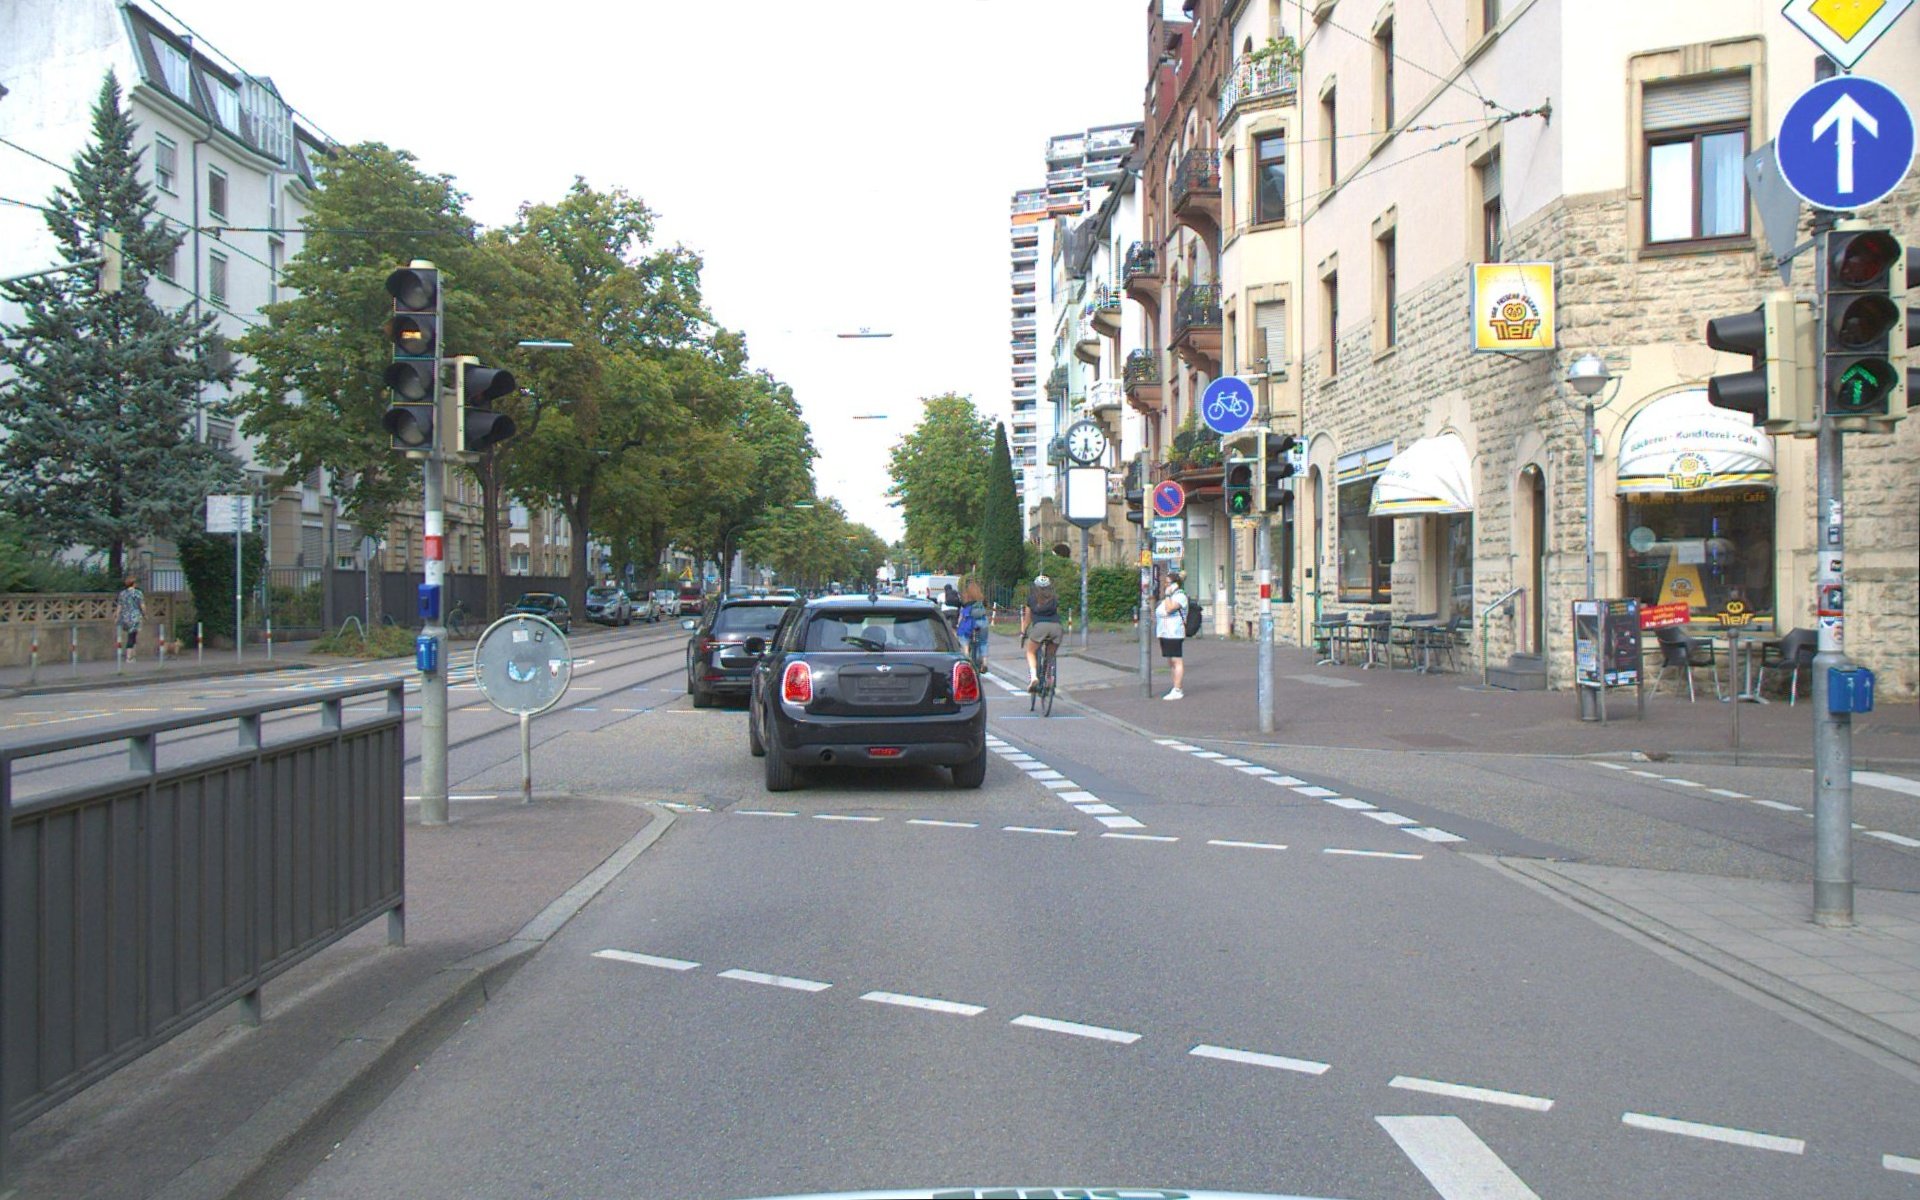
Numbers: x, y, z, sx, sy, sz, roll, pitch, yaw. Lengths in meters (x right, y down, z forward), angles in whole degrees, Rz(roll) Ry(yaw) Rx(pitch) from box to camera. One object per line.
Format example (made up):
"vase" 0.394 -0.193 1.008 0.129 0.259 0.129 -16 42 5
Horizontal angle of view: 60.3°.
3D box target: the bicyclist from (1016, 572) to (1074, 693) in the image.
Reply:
"bicyclist" 1.077 0.400 21.129 0.603 1.498 0.914 -1 0 -5

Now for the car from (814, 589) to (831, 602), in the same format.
"car" -17.678 -0.564 212.522 1.953 1.579 4.000 -1 0 -1

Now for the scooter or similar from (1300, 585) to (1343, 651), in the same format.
"scooter or similar" 6.837 0.333 31.326 0.498 1.209 1.261 -1 1 -1

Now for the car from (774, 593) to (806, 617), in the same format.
"car" -10.883 0.311 106.191 1.731 1.419 3.999 -1 0 -2

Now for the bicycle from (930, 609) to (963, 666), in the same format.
"bicycle" -0.284 0.810 36.293 0.670 1.190 1.697 -1 1 1

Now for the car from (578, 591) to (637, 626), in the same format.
"car" -14.905 0.349 70.031 1.731 1.419 3.999 -1 0 -2

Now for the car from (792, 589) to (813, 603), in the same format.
"car" -17.333 -0.448 182.605 1.953 1.579 4.000 -1 0 -1

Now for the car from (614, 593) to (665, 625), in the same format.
"car" -15.015 0.390 77.703 1.731 1.419 3.999 -1 0 -2

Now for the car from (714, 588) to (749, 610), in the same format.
"car" -16.525 -0.081 119.691 1.953 1.579 4.000 -1 0 -1

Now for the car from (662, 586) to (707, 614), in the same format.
"car" -16.098 0.005 96.729 1.953 1.579 4.000 -1 0 -1

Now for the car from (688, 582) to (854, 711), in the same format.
"car" -2.627 0.550 22.239 1.892 1.536 3.989 -1 0 -11

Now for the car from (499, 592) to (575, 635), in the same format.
"car" -14.791 0.455 58.007 1.731 1.419 3.999 -1 0 -2

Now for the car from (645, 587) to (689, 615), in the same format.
"car" -15.606 0.037 88.338 1.731 1.419 3.999 -1 0 -2

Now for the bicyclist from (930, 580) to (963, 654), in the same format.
"bicyclist" -0.292 0.362 36.258 0.670 1.591 0.998 -1 0 1

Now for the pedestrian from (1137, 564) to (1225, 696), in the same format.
"pedestrian" 2.988 0.401 22.336 0.829 1.703 0.721 -4 1 -45

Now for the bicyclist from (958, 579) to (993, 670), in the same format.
"bicyclist" 0.272 0.424 29.222 0.582 1.577 1.013 -1 0 -1

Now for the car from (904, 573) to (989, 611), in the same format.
"car" -0.825 -0.521 102.446 4.996 2.312 2.361 -1 1 -42

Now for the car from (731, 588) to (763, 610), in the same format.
"car" -16.203 -0.107 125.897 1.953 1.579 4.000 -1 0 -1

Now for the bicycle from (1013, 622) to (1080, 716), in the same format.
"bicycle" 1.083 0.854 21.078 0.603 1.095 1.819 -1 1 -5

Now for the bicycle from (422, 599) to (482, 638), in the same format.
"bicycle" -15.506 0.567 50.521 1.657 1.138 0.564 -2 1 -41

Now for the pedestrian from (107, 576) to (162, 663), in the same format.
"pedestrian" -17.338 0.401 34.735 0.715 1.815 0.835 -1 0 -1

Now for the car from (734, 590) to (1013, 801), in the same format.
"car" -0.873 0.663 13.835 1.721 1.466 3.988 -1 0 -12

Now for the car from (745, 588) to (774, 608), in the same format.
"car" -16.467 -0.148 135.927 1.953 1.579 4.000 -1 0 -1

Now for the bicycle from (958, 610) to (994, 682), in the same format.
"bicycle" 0.274 0.788 29.224 0.586 1.190 1.696 -1 1 -1
